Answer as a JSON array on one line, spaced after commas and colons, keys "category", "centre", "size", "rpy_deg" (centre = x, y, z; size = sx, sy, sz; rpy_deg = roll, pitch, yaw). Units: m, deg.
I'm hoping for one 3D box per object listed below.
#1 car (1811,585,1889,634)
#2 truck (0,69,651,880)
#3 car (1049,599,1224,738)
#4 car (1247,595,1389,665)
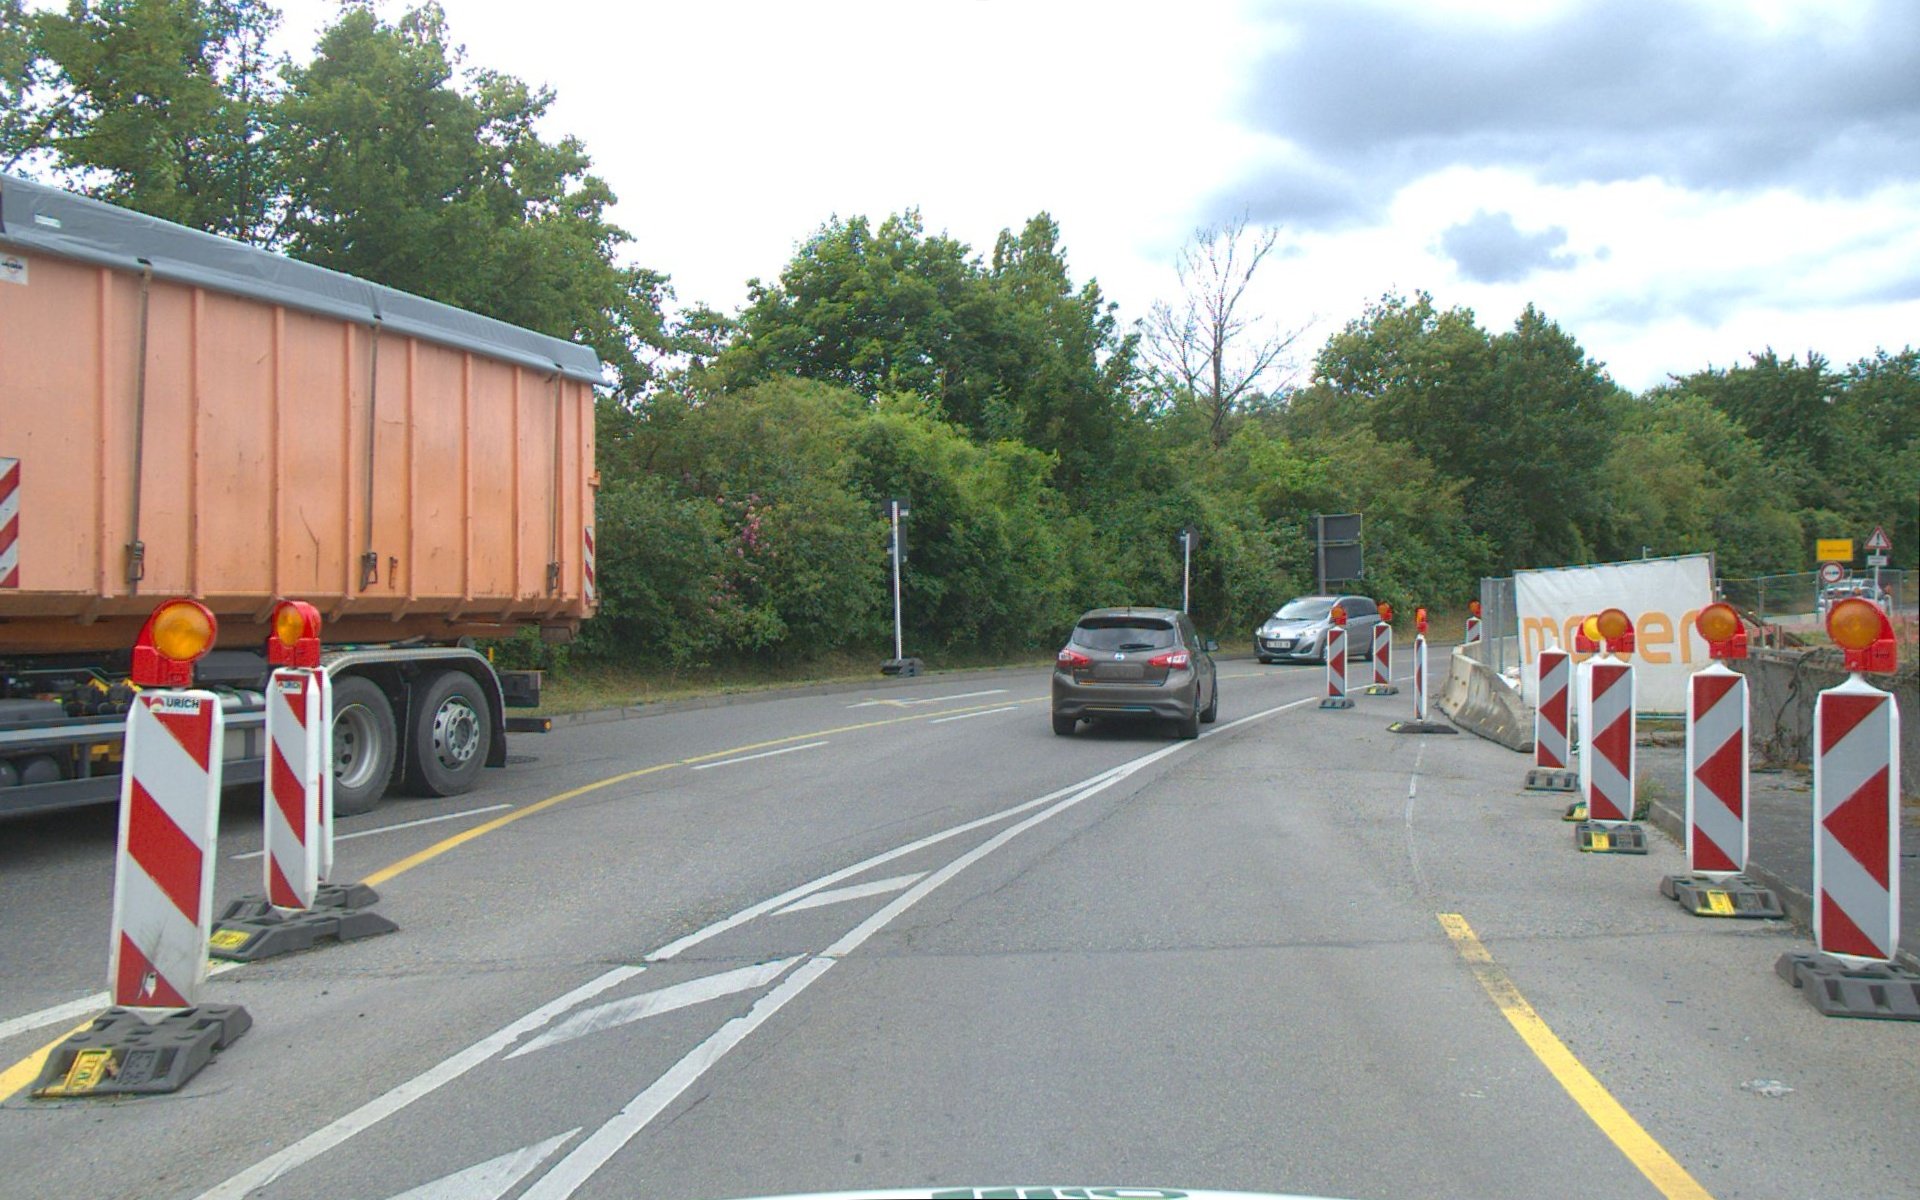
[{"category": "car", "centre": [33.243, 0.360, 61.733], "size": [1.686, 1.704, 3.978], "rpy_deg": [-3, -2, 41]}, {"category": "truck", "centre": [-5.830, -0.641, 11.570], "size": [3.044, 4.295, 9.799], "rpy_deg": [-1, -1, 17]}, {"category": "car", "centre": [2.338, 0.782, 21.037], "size": [1.759, 1.579, 4.003], "rpy_deg": [0, 0, 13]}, {"category": "car", "centre": [8.648, 0.709, 39.723], "size": [1.607, 1.572, 4.329], "rpy_deg": [0, -1, 39]}]
